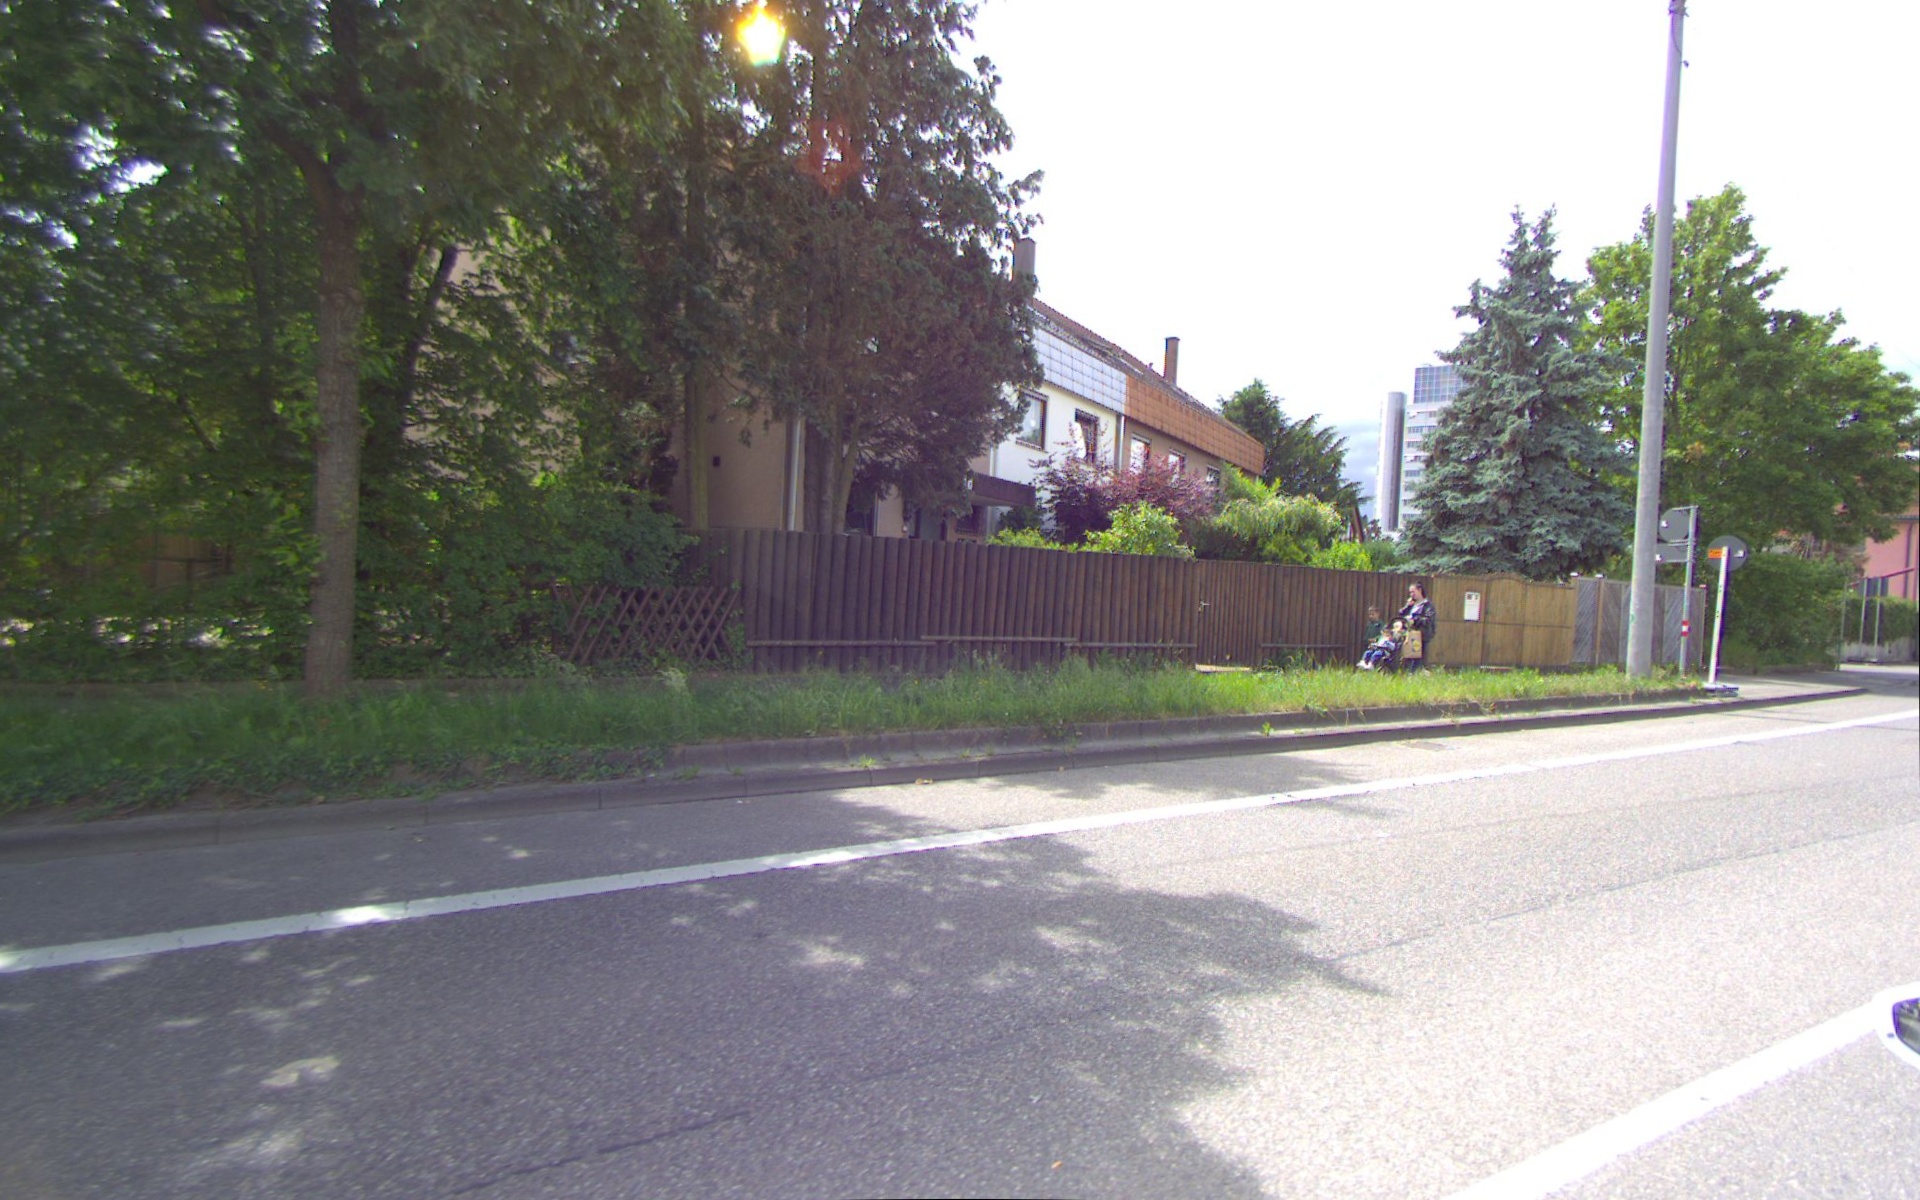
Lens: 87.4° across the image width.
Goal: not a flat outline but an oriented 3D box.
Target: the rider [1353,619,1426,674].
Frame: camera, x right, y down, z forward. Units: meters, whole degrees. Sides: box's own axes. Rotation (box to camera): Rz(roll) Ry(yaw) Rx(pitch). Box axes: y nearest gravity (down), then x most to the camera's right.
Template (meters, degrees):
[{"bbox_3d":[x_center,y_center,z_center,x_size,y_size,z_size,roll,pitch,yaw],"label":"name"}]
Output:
[{"bbox_3d":[6.594,0.714,15.423,0.683,0.744,0.723,3,3,-36],"label":"rider"}]

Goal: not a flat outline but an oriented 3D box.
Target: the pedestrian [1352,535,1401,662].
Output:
[{"bbox_3d":[6.853,-0.022,16.537,0.410,2.040,0.400,3,3,-32],"label":"pedestrian"}]
